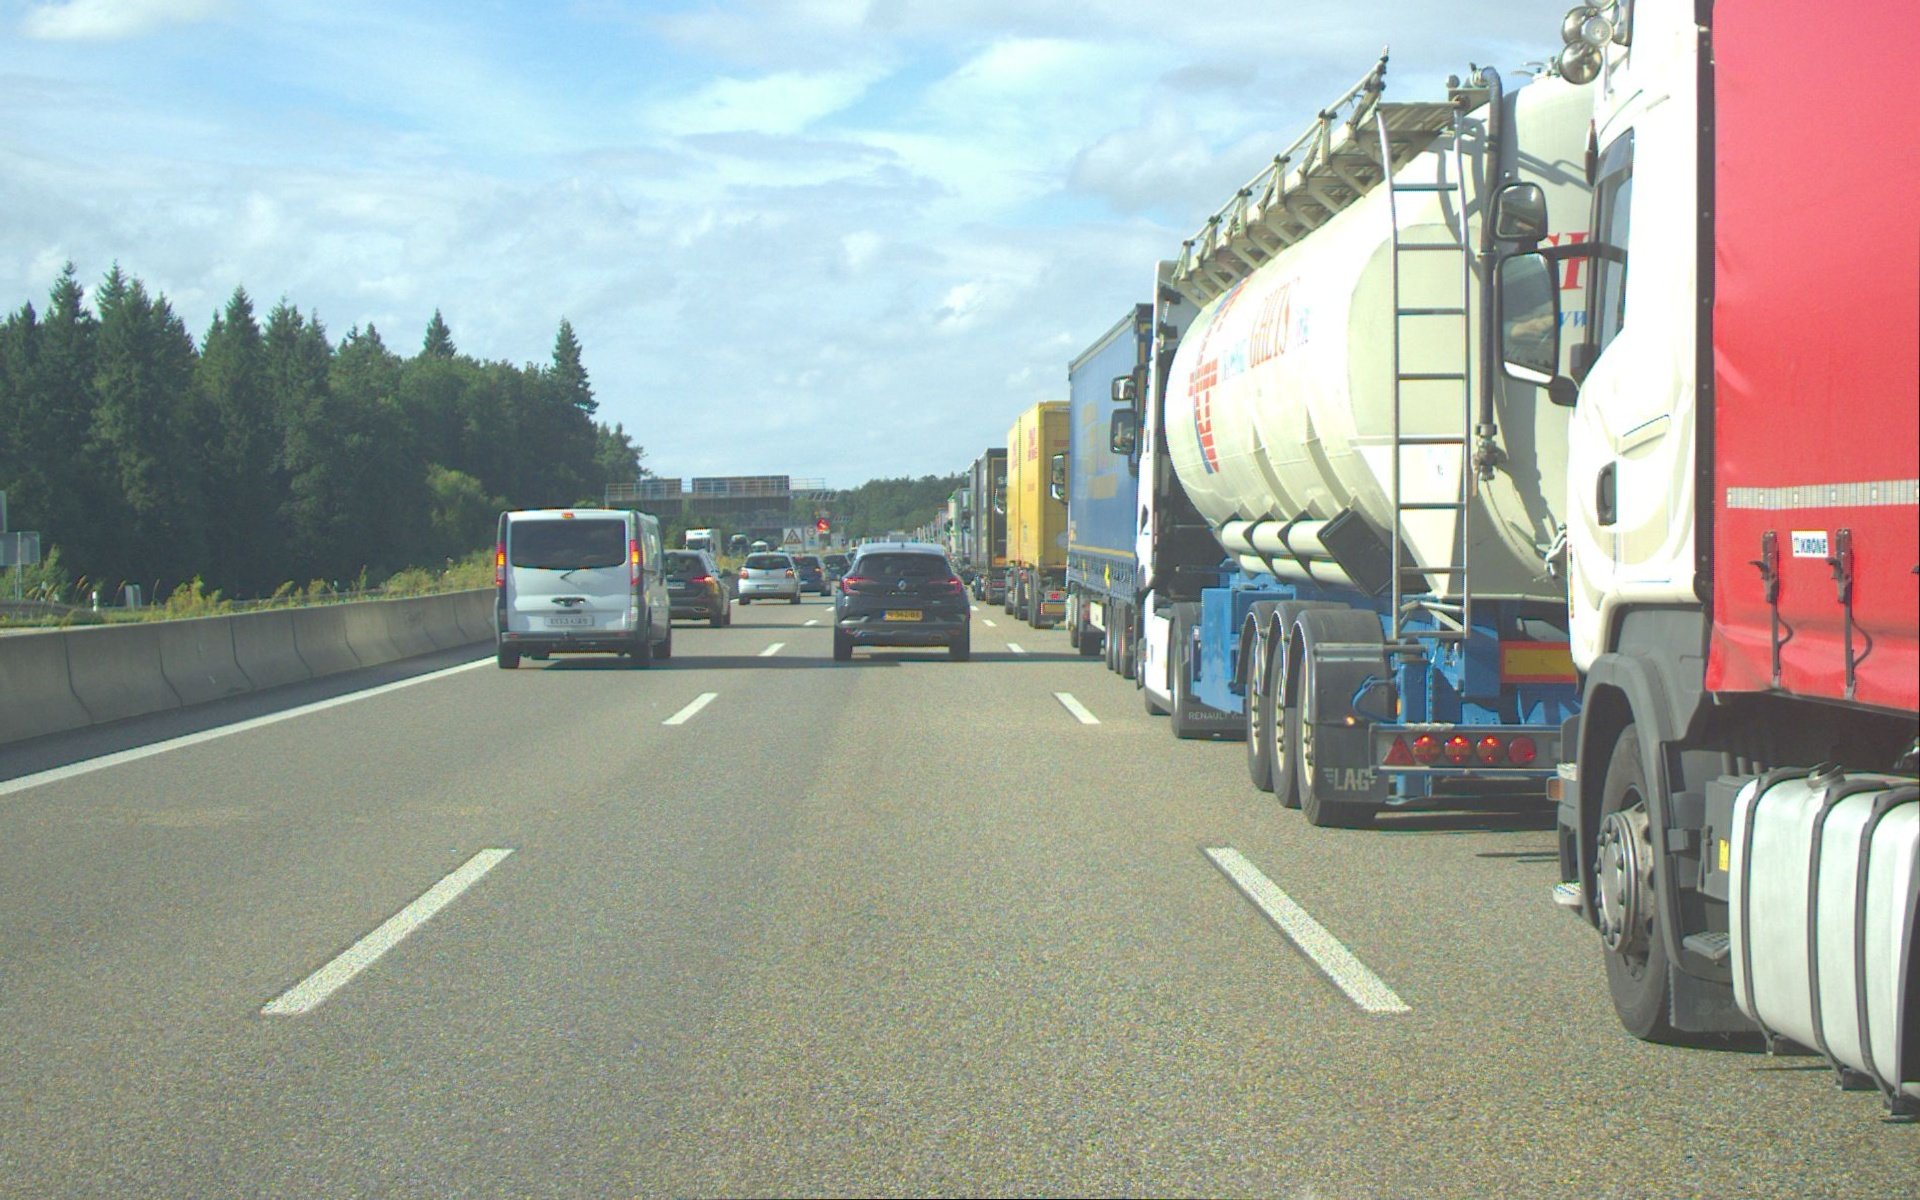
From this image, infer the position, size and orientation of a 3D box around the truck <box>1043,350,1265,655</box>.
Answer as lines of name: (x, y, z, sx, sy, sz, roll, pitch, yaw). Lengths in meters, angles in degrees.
truck: (2.689, -1.344, 49.525, 2.648, 4.075, 6.492, 1, 1, -1)

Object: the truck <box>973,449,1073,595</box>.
truck: (1.771, -2.221, 100.526, 2.741, 4.024, 10.203, 1, 1, 0)

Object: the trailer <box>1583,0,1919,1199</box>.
trailer: (3.013, -0.544, 2.402, 2.328, 3.983, 14.300, 0, 1, -1)

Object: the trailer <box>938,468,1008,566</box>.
trailer: (0.485, -3.412, 144.798, 2.661, 3.855, 13.395, -2, 1, 0)

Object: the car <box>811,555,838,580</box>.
car: (-7.427, -1.782, 188.642, 1.434, 1.305, 3.533, 1, 1, -1)

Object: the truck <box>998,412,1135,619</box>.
truck: (2.163, -1.755, 72.949, 2.412, 4.054, 9.665, 1, 1, -1)

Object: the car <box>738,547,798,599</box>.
car: (-5.310, -0.749, 95.350, 1.500, 1.391, 3.476, 1, 1, -1)

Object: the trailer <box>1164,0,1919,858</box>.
trailer: (2.996, -0.902, 21.127, 2.646, 3.921, 11.175, 1, 1, -1)

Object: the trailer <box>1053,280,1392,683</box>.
trailer: (2.875, -1.282, 42.207, 2.642, 4.084, 13.981, 1, 1, -2)

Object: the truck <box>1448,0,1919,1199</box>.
truck: (2.911, -0.618, 8.777, 2.365, 4.007, 6.106, 0, 1, -1)

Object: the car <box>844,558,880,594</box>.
car: (-3.894, -0.973, 137.028, 1.361, 1.391, 3.085, 1, 1, -1)

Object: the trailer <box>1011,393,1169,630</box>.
trailer: (2.304, -1.593, 63.639, 2.412, 4.054, 8.927, 1, 1, -1)

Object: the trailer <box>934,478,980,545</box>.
trailer: (-0.176, -5.932, 232.348, 2.802, 4.229, 11.057, -3, 1, 0)

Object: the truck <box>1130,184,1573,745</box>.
truck: (2.926, -0.990, 27.682, 2.649, 3.911, 6.942, 1, 1, -1)

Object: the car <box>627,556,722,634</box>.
car: (-5.309, -0.109, 64.143, 1.500, 1.391, 3.476, 1, 1, -1)

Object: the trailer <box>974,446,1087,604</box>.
trailer: (1.797, -1.990, 91.057, 2.716, 3.947, 8.712, 1, 1, 0)

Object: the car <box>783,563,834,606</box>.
car: (-5.079, -0.540, 115.417, 1.581, 1.391, 3.208, 1, 1, -1)

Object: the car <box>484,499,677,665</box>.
car: (-4.787, -0.245, 44.030, 1.933, 1.972, 5.099, 1, 1, -1)

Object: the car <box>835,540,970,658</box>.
car: (-0.760, -0.035, 46.072, 1.696, 1.478, 4.160, 1, 1, -1)
